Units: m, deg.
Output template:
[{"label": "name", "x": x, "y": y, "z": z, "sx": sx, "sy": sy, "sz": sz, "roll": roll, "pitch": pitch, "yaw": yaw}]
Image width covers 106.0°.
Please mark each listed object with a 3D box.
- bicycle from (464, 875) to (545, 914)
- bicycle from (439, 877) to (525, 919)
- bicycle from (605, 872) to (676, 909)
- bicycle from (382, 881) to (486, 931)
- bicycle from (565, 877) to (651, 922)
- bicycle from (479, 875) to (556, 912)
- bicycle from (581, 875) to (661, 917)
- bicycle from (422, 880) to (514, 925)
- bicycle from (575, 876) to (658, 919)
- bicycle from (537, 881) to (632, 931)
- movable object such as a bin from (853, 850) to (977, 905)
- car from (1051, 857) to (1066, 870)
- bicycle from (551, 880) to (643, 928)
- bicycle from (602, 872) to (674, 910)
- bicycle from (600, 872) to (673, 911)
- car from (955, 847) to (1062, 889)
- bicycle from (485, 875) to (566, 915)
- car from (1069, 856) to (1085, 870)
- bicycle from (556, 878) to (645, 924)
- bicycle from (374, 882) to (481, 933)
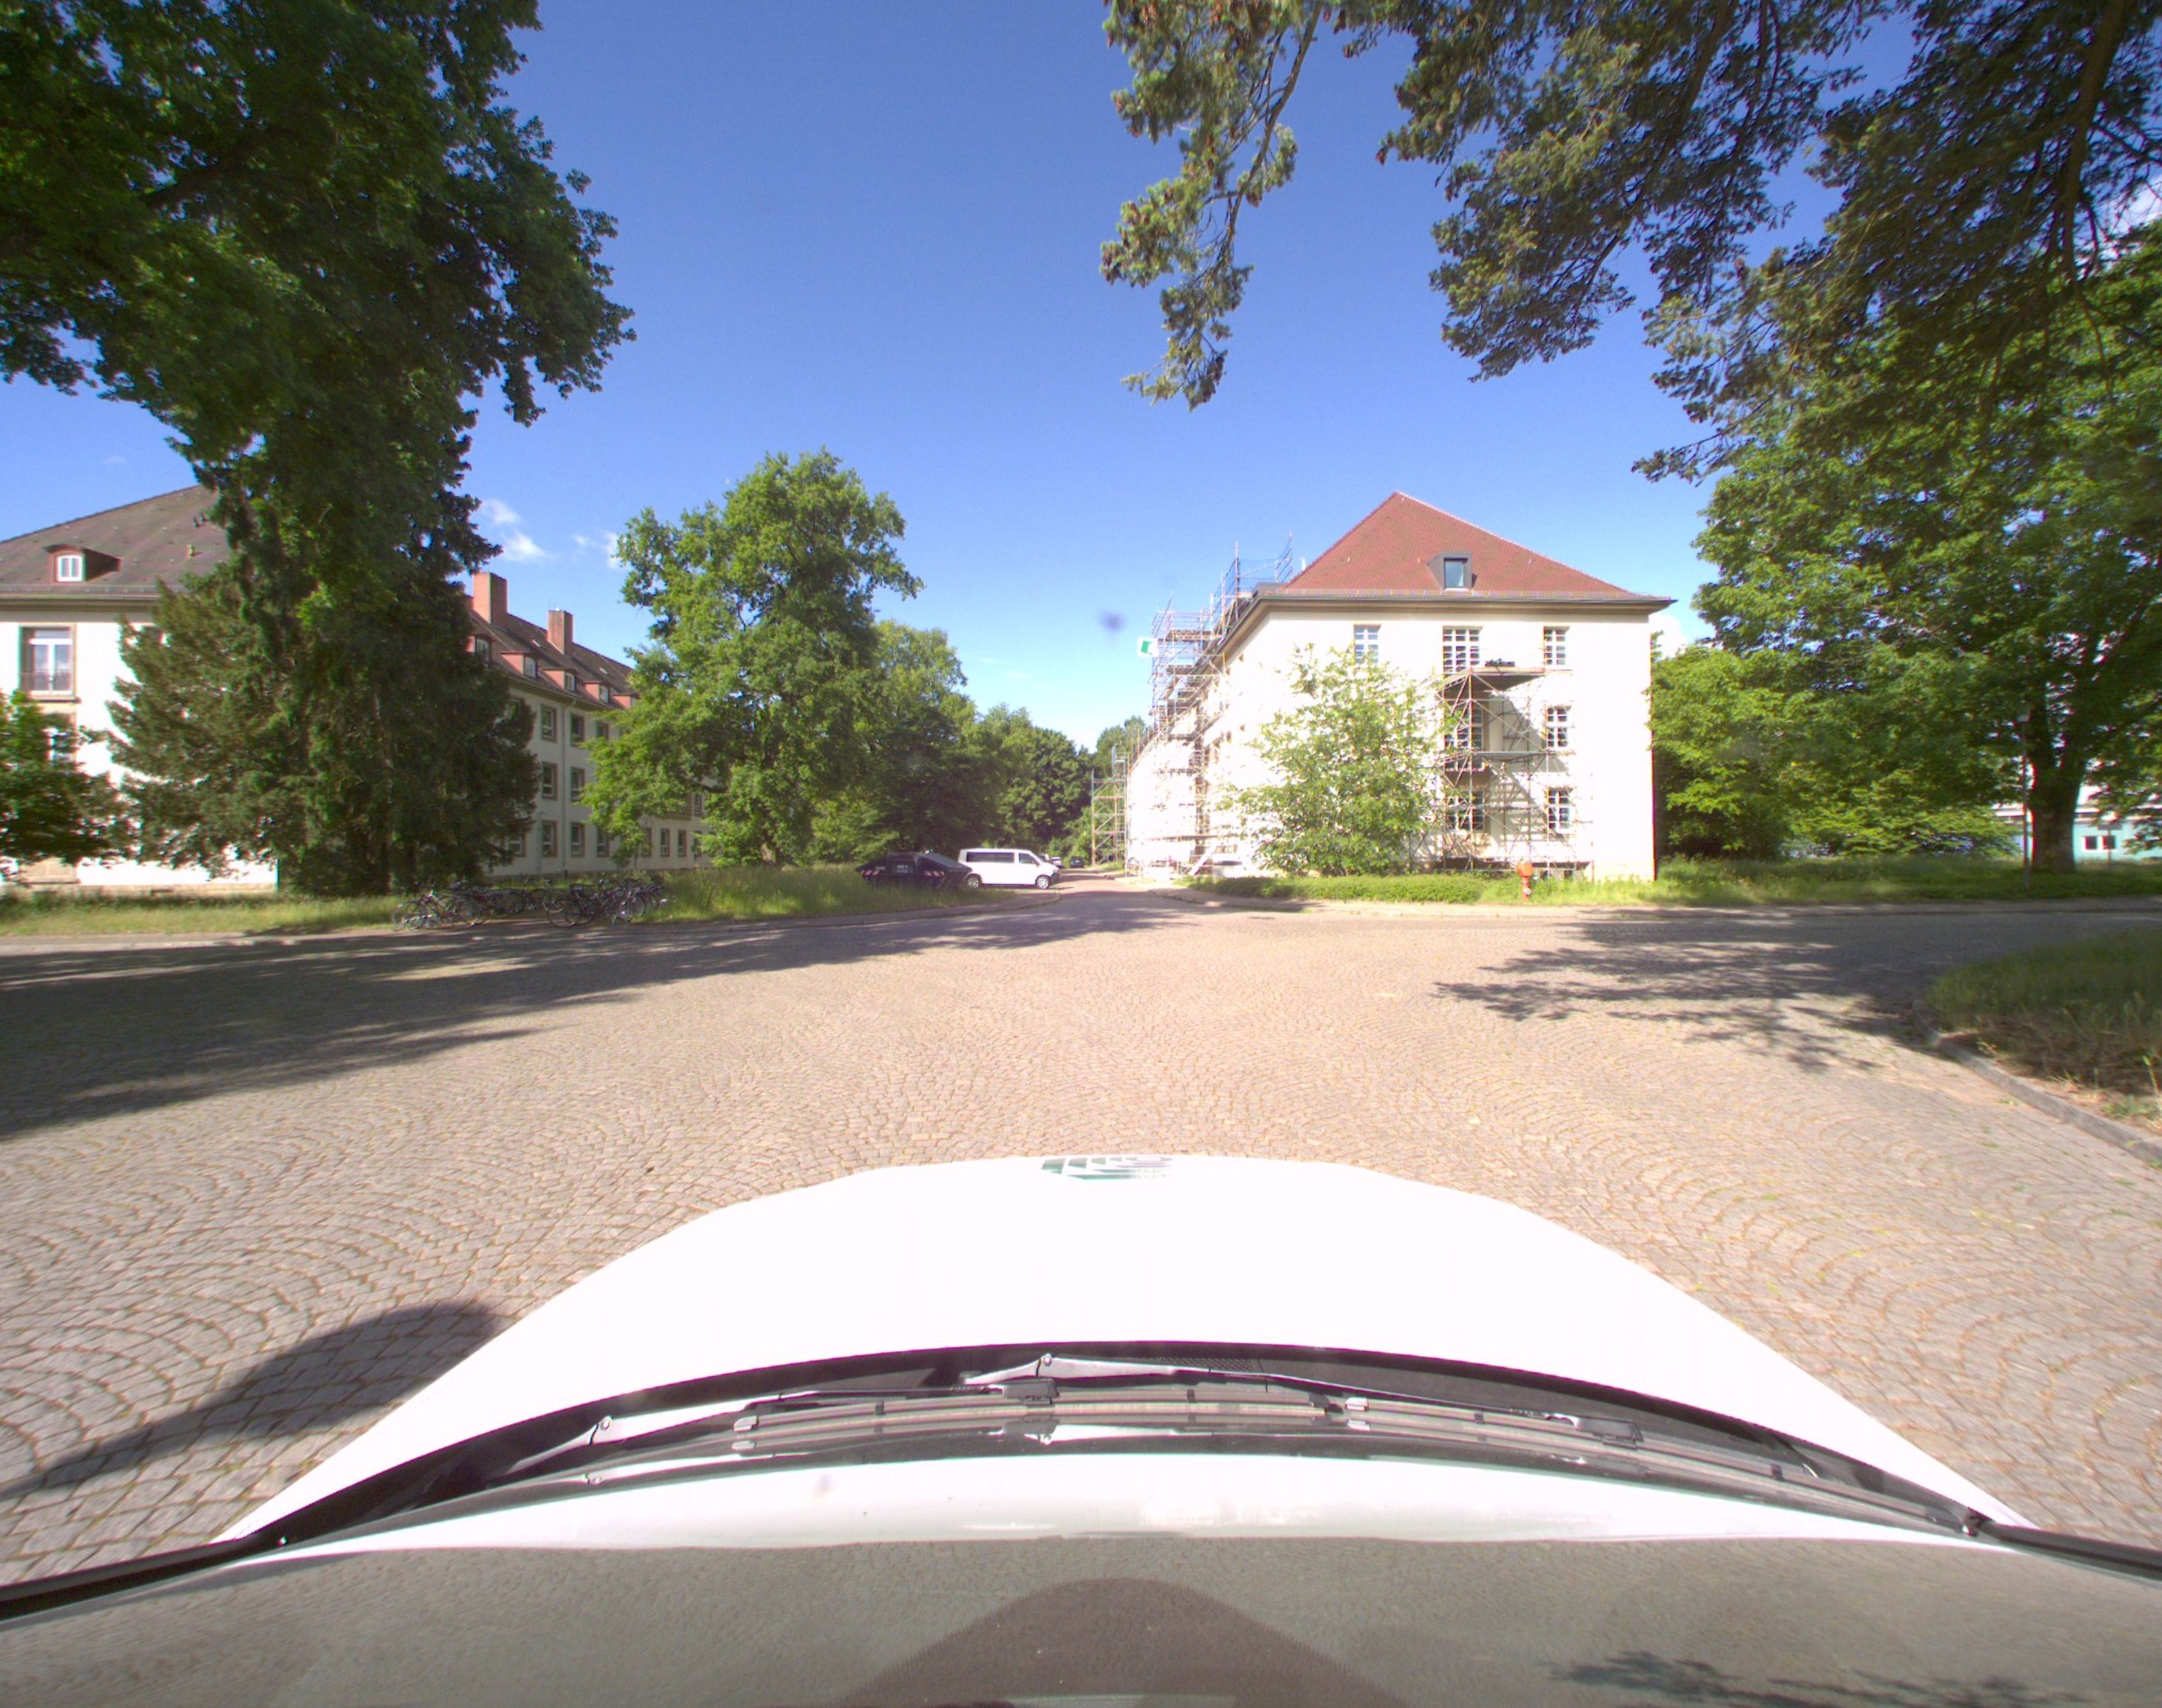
[{"label": "bicycle", "x": -17.612, "y": 1.234, "z": 24.909, "sx": 1.920, "sy": 1.103, "sz": 0.566, "roll": 0, "pitch": 1, "yaw": -22}, {"label": "bicycle", "x": -17.128, "y": 1.245, "z": 23.331, "sx": 1.925, "sy": 1.103, "sz": 0.565, "roll": -1, "pitch": 1, "yaw": -30}, {"label": "bicycle", "x": -14.148, "y": 1.167, "z": 26.182, "sx": 1.921, "sy": 1.058, "sz": 0.472, "roll": -3, "pitch": 0, "yaw": -23}, {"label": "bicycle", "x": -16.179, "y": 1.280, "z": 20.415, "sx": 1.923, "sy": 1.103, "sz": 0.565, "roll": -1, "pitch": 1, "yaw": -27}, {"label": "bicycle", "x": -12.734, "y": 1.208, "z": 21.975, "sx": 1.922, "sy": 1.058, "sz": 0.472, "roll": -3, "pitch": 0, "yaw": -25}, {"label": "bicycle", "x": -17.853, "y": 1.244, "z": 25.842, "sx": 1.923, "sy": 1.103, "sz": 0.565, "roll": 0, "pitch": 1, "yaw": -26}, {"label": "bicycle", "x": -13.280, "y": 1.196, "z": 23.552, "sx": 1.921, "sy": 1.058, "sz": 0.472, "roll": -3, "pitch": 0, "yaw": -23}, {"label": "bicycle", "x": -16.556, "y": 1.283, "z": 22.058, "sx": 1.925, "sy": 1.103, "sz": 0.565, "roll": -1, "pitch": 1, "yaw": -30}, {"label": "bicycle", "x": -12.944, "y": 1.204, "z": 22.755, "sx": 1.922, "sy": 1.058, "sz": 0.472, "roll": -3, "pitch": 0, "yaw": -25}, {"label": "bicycle", "x": -12.100, "y": 1.247, "z": 19.894, "sx": 1.926, "sy": 1.058, "sz": 0.471, "roll": -3, "pitch": 0, "yaw": -32}, {"label": "movable object such as a bin", "x": -5.578, "y": 0.769, "z": 27.544, "sx": 3.538, "sy": 1.744, "sz": 2.033, "roll": -1, "pitch": 0, "yaw": 16}, {"label": "car", "x": -2.977, "y": 1.266, "z": 106.788, "sx": 1.808, "sy": 1.579, "sz": 4.130, "roll": -1, "pitch": 0, "yaw": -3}, {"label": "bicycle", "x": -12.134, "y": 1.230, "z": 20.448, "sx": 1.926, "sy": 1.058, "sz": 0.471, "roll": -3, "pitch": 0, "yaw": -32}, {"label": "bicycle", "x": -13.972, "y": 1.163, "z": 25.752, "sx": 1.921, "sy": 1.058, "sz": 0.472, "roll": -3, "pitch": 0, "yaw": -23}, {"label": "bicycle", "x": -13.774, "y": 1.156, "z": 25.295, "sx": 1.921, "sy": 1.058, "sz": 0.472, "roll": -3, "pitch": 0, "yaw": -23}, {"label": "car", "x": -3.575, "y": 0.697, "z": 40.738, "sx": 5.222, "sy": 2.016, "sz": 1.948, "roll": -1, "pitch": -1, "yaw": -3}, {"label": "bicycle", "x": -16.628, "y": 1.210, "z": 24.439, "sx": 1.920, "sy": 1.103, "sz": 0.566, "roll": 0, "pitch": 1, "yaw": -22}, {"label": "car", "x": -0.592, "y": 1.173, "z": 107.201, "sx": 1.966, "sy": 1.668, "sz": 4.082, "roll": -1, "pitch": 0, "yaw": -3}, {"label": "bicycle", "x": -12.606, "y": 1.209, "z": 21.418, "sx": 1.922, "sy": 1.058, "sz": 0.472, "roll": -3, "pitch": 0, "yaw": -25}, {"label": "bicycle", "x": -15.948, "y": 1.297, "z": 19.930, "sx": 1.923, "sy": 1.103, "sz": 0.565, "roll": -1, "pitch": 1, "yaw": -27}]
